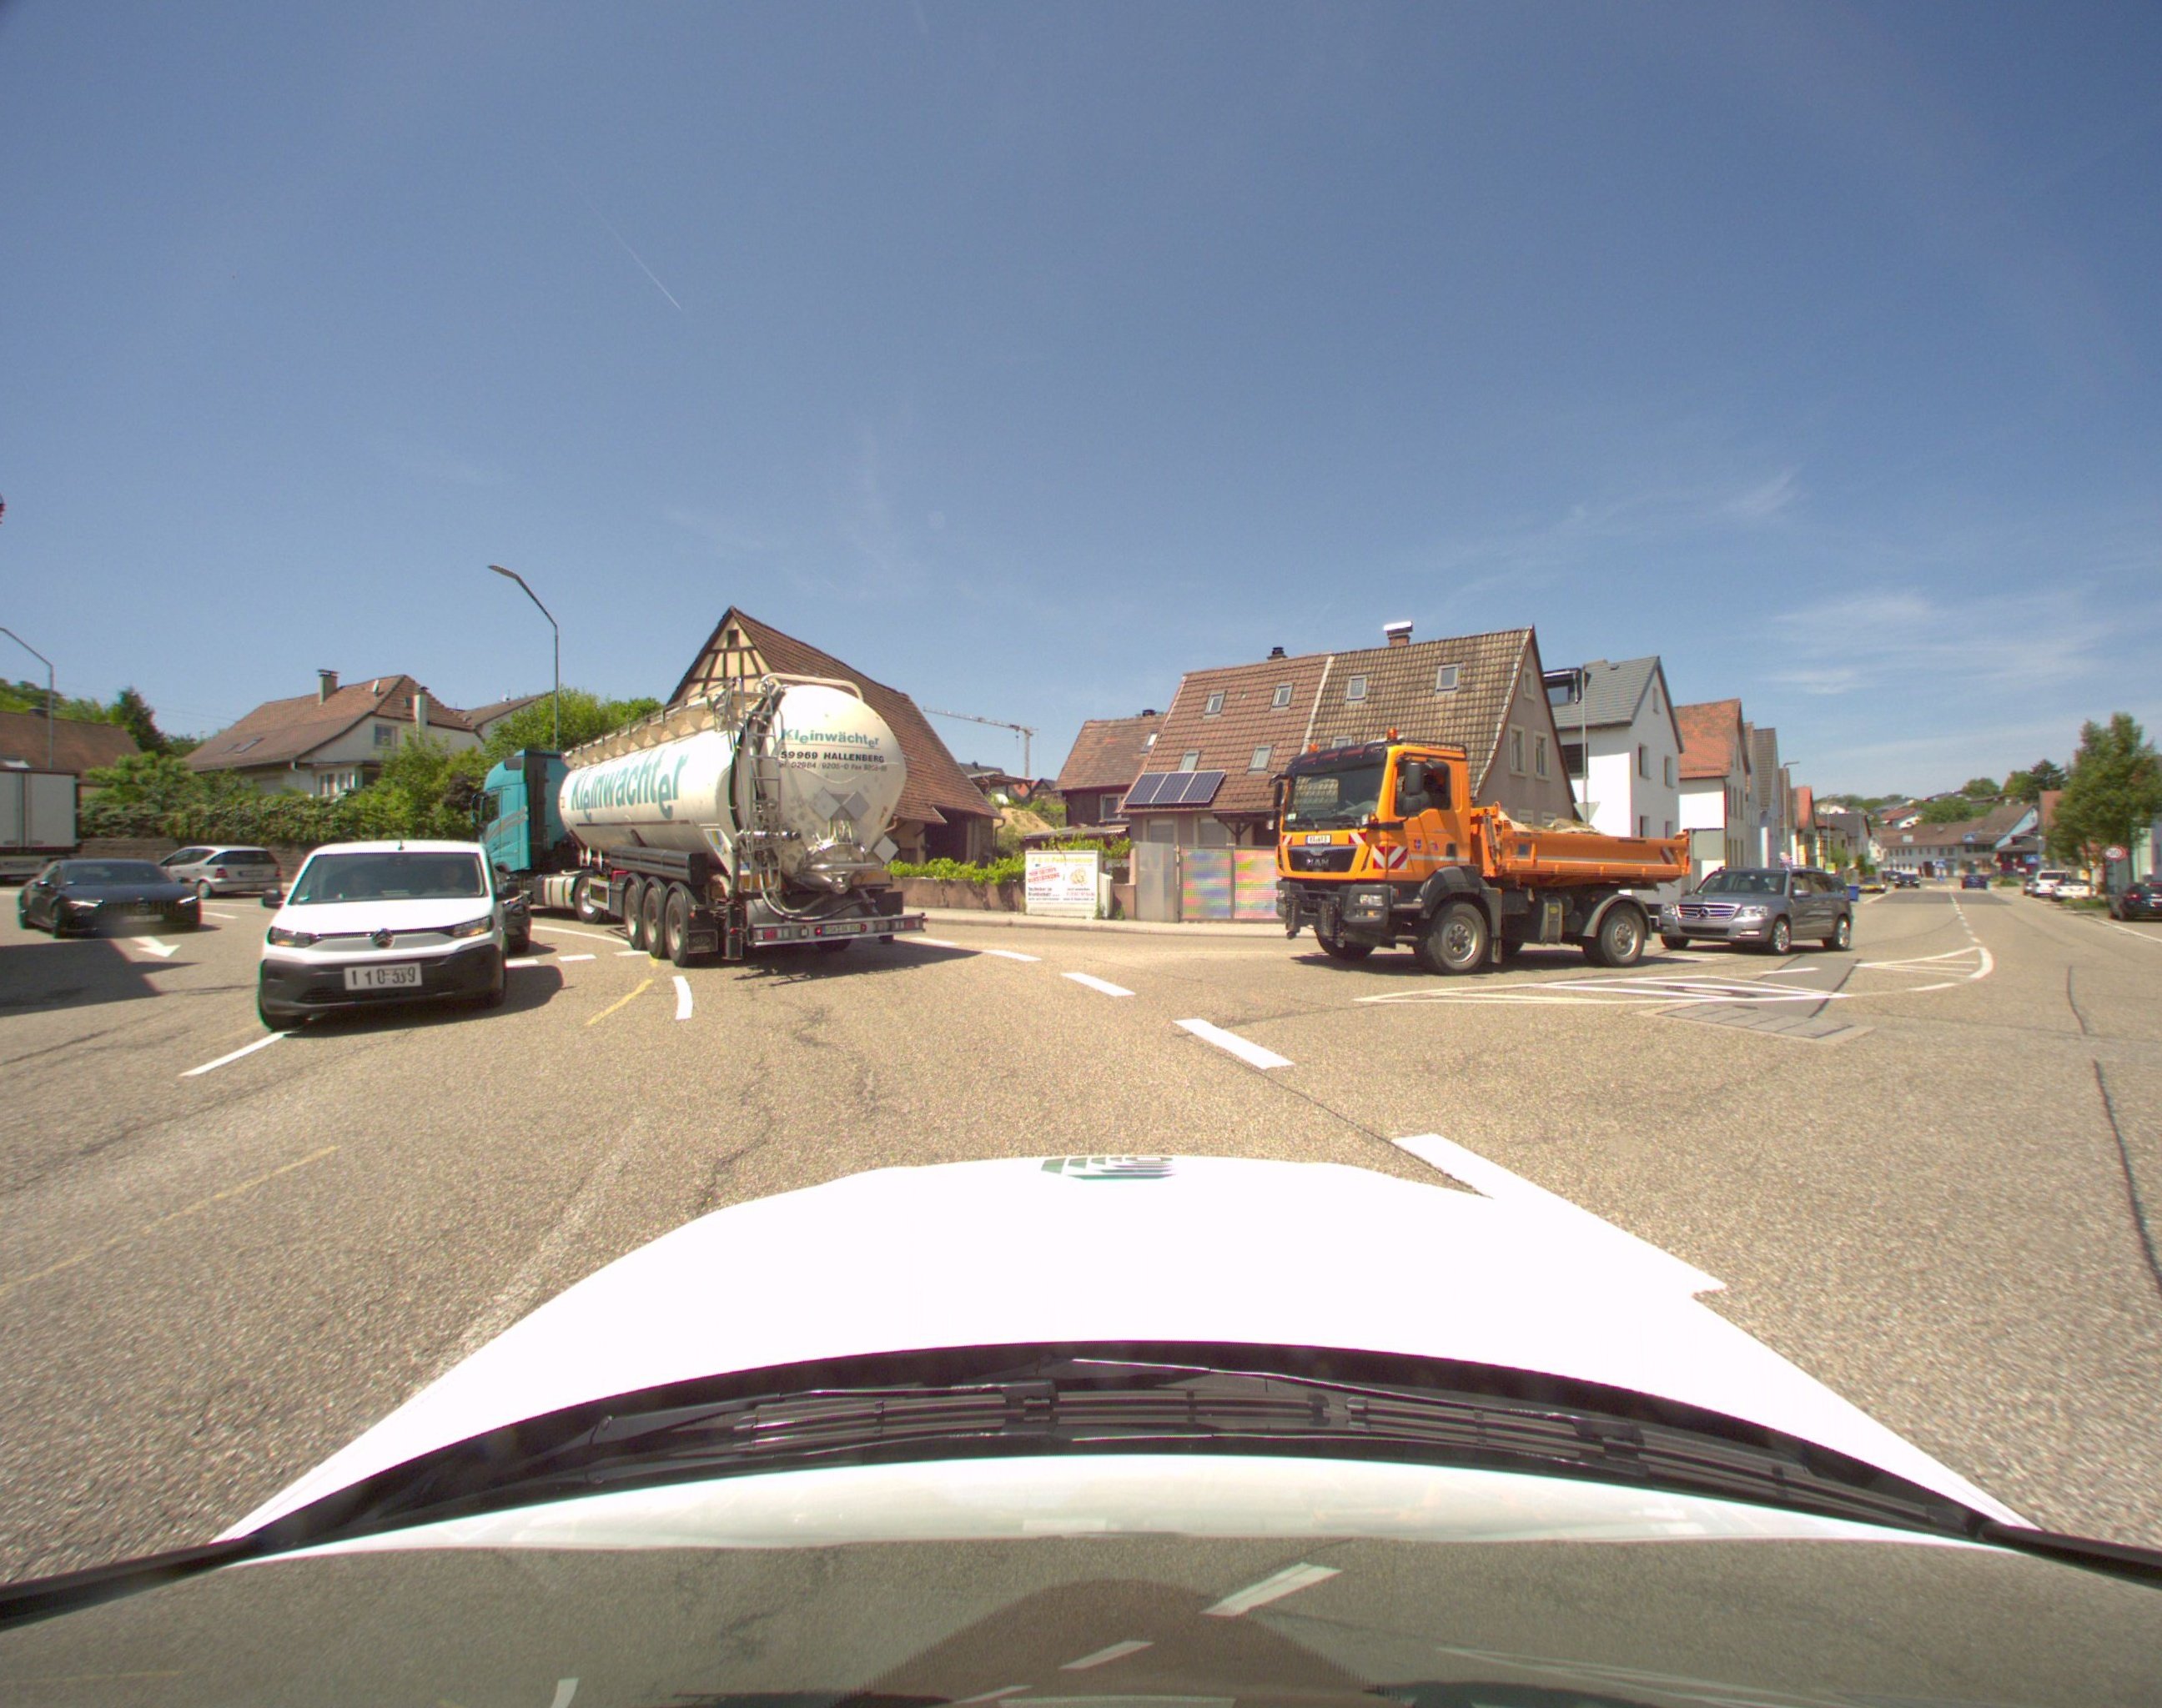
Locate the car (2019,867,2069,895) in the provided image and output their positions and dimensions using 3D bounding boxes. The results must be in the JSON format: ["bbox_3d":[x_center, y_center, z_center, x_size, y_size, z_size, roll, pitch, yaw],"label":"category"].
[{"bbox_3d":[70.450,1.951,59.632,1.975,1.992,4.023,0,-1,44],"label":"car"}]

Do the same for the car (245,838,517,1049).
[{"bbox_3d":[-7.652,0.748,9.256,1.888,1.785,4.471,0,0,-37],"label":"car"}]

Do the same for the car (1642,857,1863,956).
[{"bbox_3d":[13.090,0.951,15.829,4.326,1.675,1.981,2,-1,-31],"label":"car"}]

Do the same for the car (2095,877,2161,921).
[{"bbox_3d":[42.272,1.755,32.387,1.975,1.585,4.023,0,-1,44],"label":"car"}]

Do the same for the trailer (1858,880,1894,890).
[{"bbox_3d":[67.831,2.663,69.520,1.932,0.777,2.737,0,-1,37],"label":"trailer"}]

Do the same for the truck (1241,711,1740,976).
[{"bbox_3d":[6.353,0.006,12.467,7.469,3.181,2.649,2,-2,-23],"label":"truck"}]

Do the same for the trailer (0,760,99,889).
[{"bbox_3d":[-41.473,-0.960,29.251,12.359,4.277,3.156,0,0,16],"label":"trailer"}]

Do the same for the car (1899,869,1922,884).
[{"bbox_3d":[92.255,2.529,90.597,4.023,1.596,1.702,1,-1,-45],"label":"car"}]

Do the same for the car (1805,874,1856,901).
[{"bbox_3d":[45.955,2.021,49.904,4.019,1.596,1.703,1,-1,-38],"label":"car"}]

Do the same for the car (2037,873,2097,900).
[{"bbox_3d":[62.136,2.030,51.391,1.975,1.585,4.023,0,-1,44],"label":"car"}]

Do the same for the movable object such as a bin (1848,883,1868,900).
[{"bbox_3d":[50.501,2.436,52.930,0.948,1.049,0.912,1,-1,-43],"label":"movable object such as a bin"}]

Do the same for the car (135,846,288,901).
[{"bbox_3d":[-26.205,0.587,24.577,3.565,1.585,1.796,-1,-1,18],"label":"car"}]

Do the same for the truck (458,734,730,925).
[{"bbox_3d":[-11.635,-0.512,19.498,5.509,3.965,3.015,0,-1,27],"label":"truck"}]

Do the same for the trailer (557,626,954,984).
[{"bbox_3d":[-6.557,-0.585,14.338,2.977,3.948,11.482,1,0,-40],"label":"trailer"}]

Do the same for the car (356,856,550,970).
[{"bbox_3d":[-10.317,0.833,13.281,3.949,1.524,1.809,1,0,42],"label":"car"}]

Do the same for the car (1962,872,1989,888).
[{"bbox_3d":[93.862,2.672,85.456,4.023,1.596,1.702,1,-1,-45],"label":"car"}]

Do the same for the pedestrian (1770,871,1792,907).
[{"bbox_3d":[39.981,1.996,46.511,0.981,2.014,0.763,1,-1,-38],"label":"pedestrian"}]

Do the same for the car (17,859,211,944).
[{"bbox_3d":[-19.546,0.868,16.449,3.949,1.442,1.854,0,1,30],"label":"car"}]
